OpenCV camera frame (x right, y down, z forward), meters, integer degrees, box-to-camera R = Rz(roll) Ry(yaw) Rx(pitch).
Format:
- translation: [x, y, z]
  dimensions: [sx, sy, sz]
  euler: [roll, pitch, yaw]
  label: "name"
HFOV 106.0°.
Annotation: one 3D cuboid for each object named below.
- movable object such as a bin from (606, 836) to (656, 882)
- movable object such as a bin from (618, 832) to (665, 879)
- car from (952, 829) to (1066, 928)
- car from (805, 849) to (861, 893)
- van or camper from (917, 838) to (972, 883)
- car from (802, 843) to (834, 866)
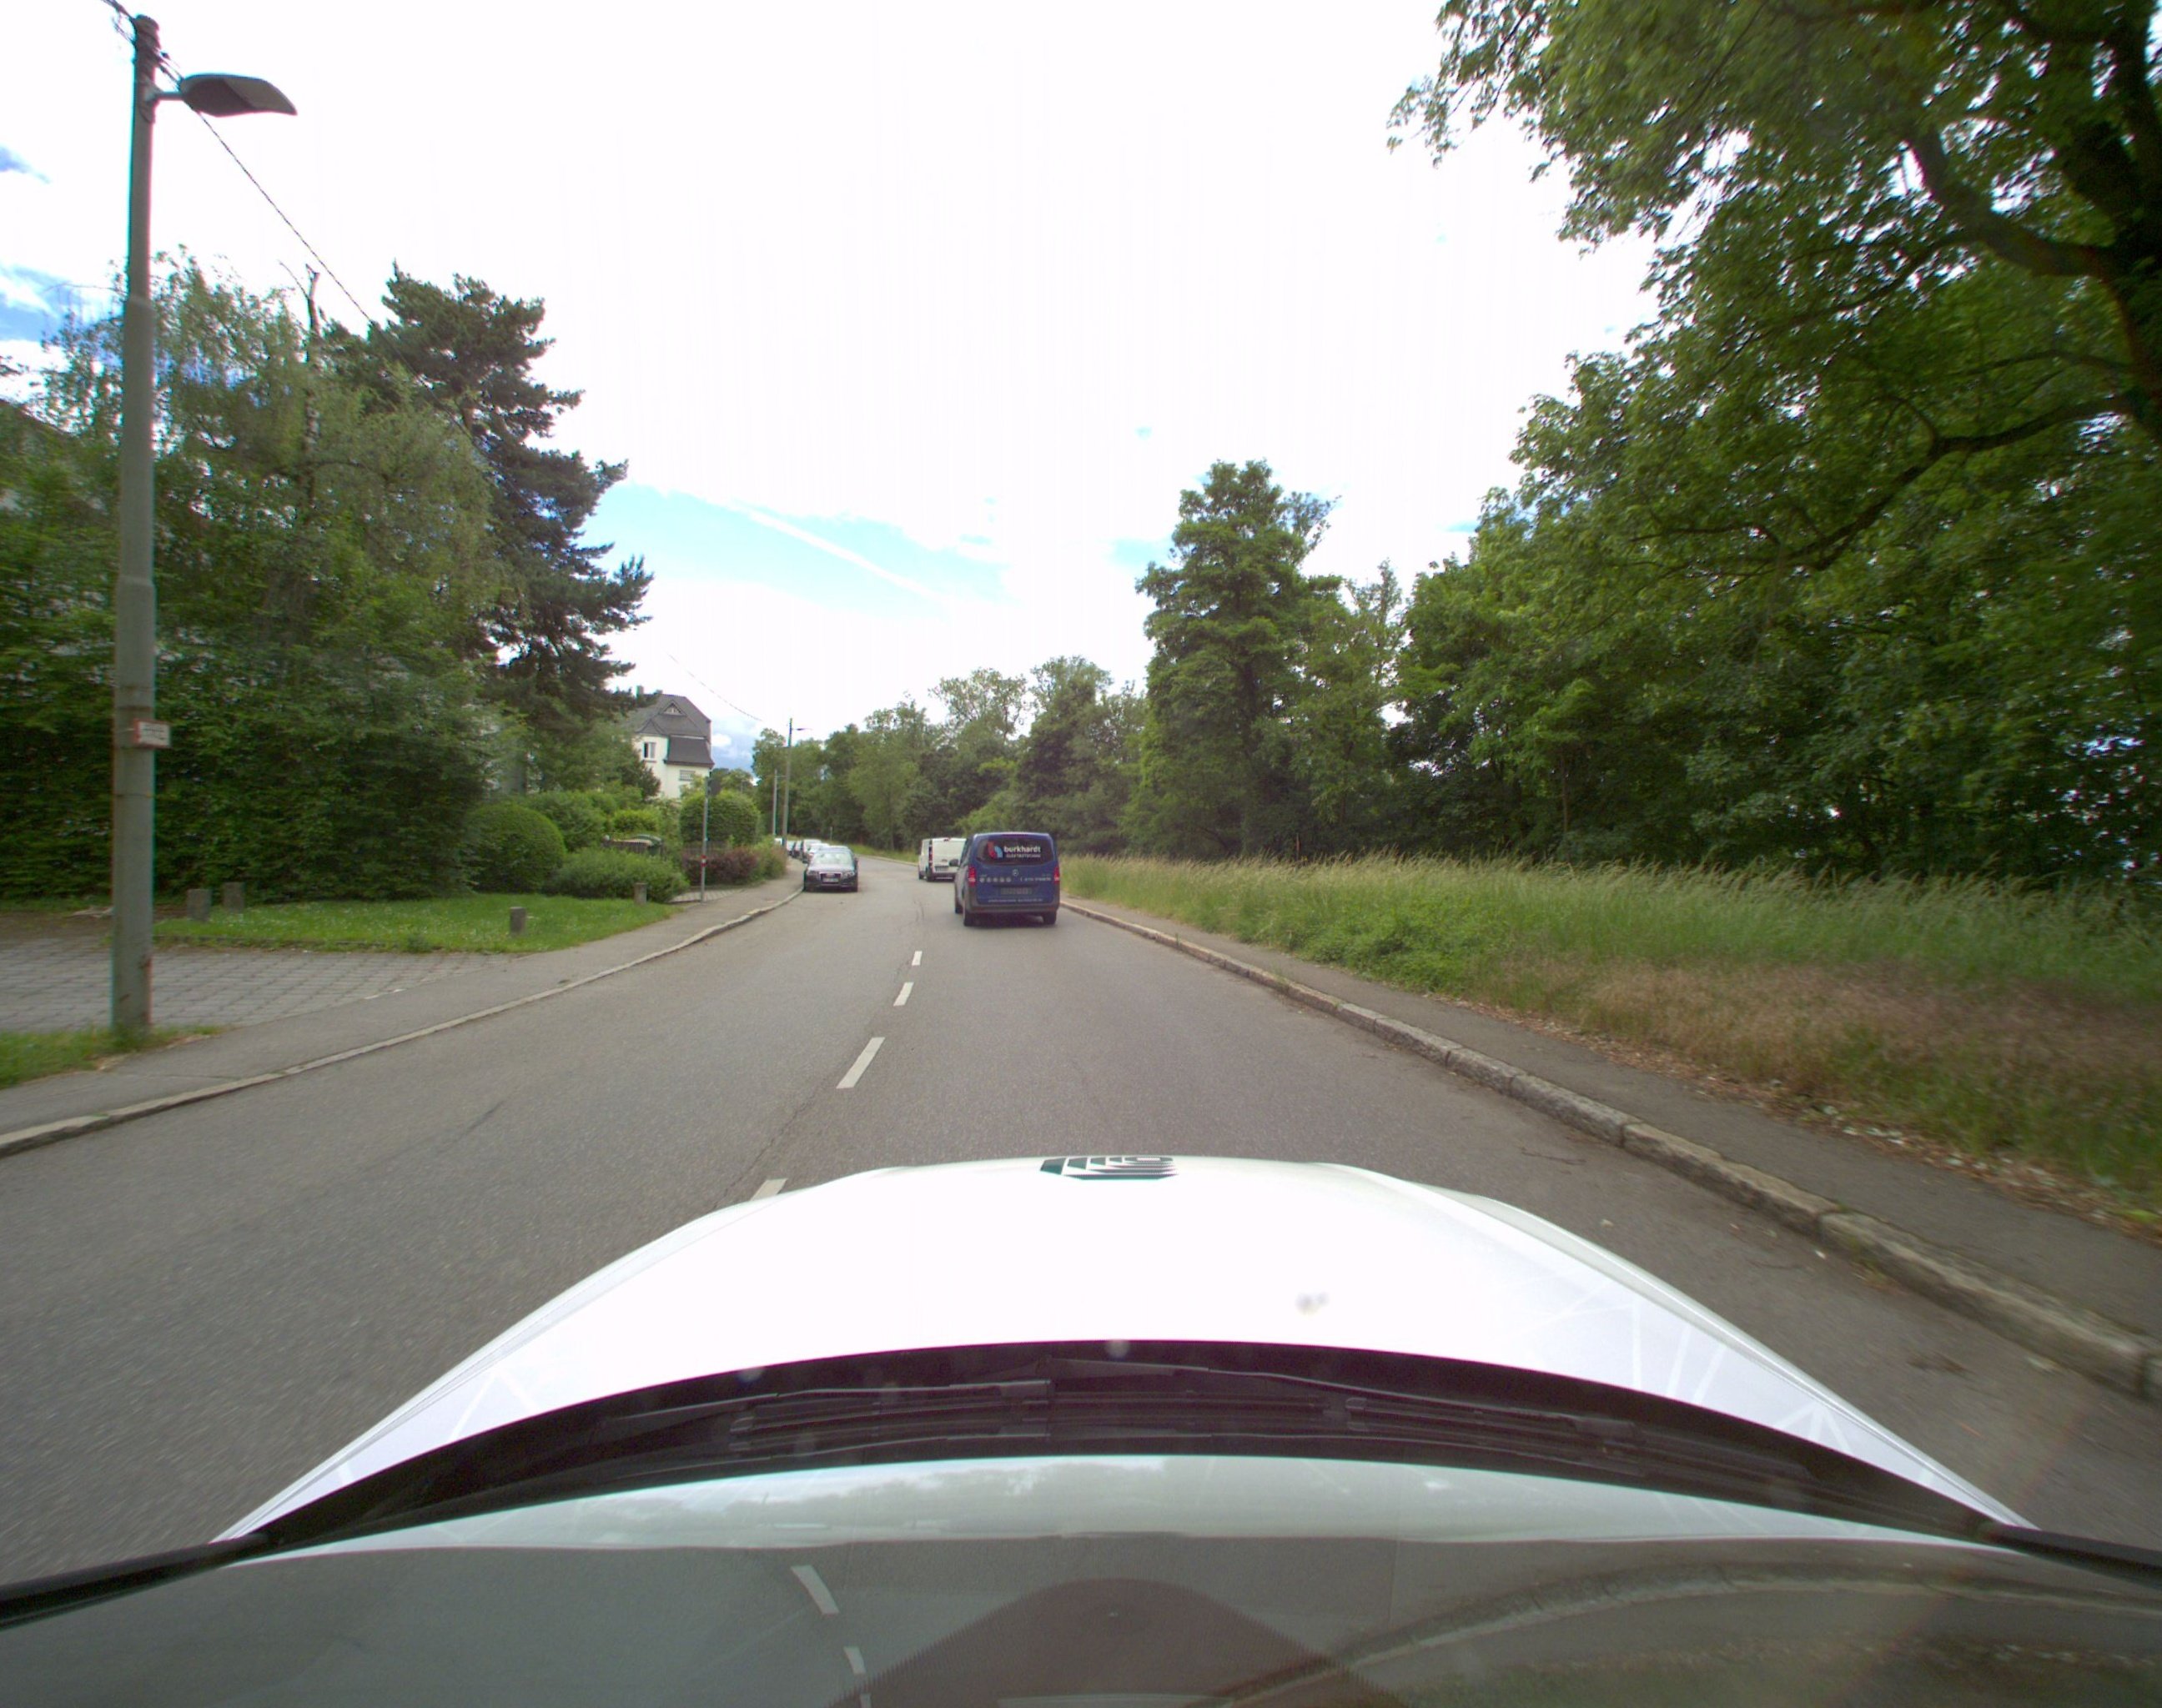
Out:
- translation: [-14.240, 0.158, 25.810]
  dimensions: [1.117, 1.363, 1.385]
  euler: [2, 1, -18]
  label: "movable object such as a bin"
- translation: [-14.683, 0.039, 27.254]
  dimensions: [1.096, 1.466, 1.444]
  euler: [2, 1, -18]
  label: "movable object such as a bin"
- translation: [-1.695, 0.414, 17.691]
  dimensions: [1.915, 1.837, 4.276]
  euler: [1, 2, -12]
  label: "car"
- translation: [-8.760, 0.543, 29.017]
  dimensions: [1.738, 1.418, 4.480]
  euler: [1, 0, -16]
  label: "car"
- translation: [-6.374, 0.249, 37.528]
  dimensions: [2.023, 1.956, 4.871]
  euler: [1, 1, -15]
  label: "van or camper"
- translation: [-19.357, 0.009, 59.857]
  dimensions: [1.731, 1.492, 4.380]
  euler: [5, -1, -23]
  label: "car"
